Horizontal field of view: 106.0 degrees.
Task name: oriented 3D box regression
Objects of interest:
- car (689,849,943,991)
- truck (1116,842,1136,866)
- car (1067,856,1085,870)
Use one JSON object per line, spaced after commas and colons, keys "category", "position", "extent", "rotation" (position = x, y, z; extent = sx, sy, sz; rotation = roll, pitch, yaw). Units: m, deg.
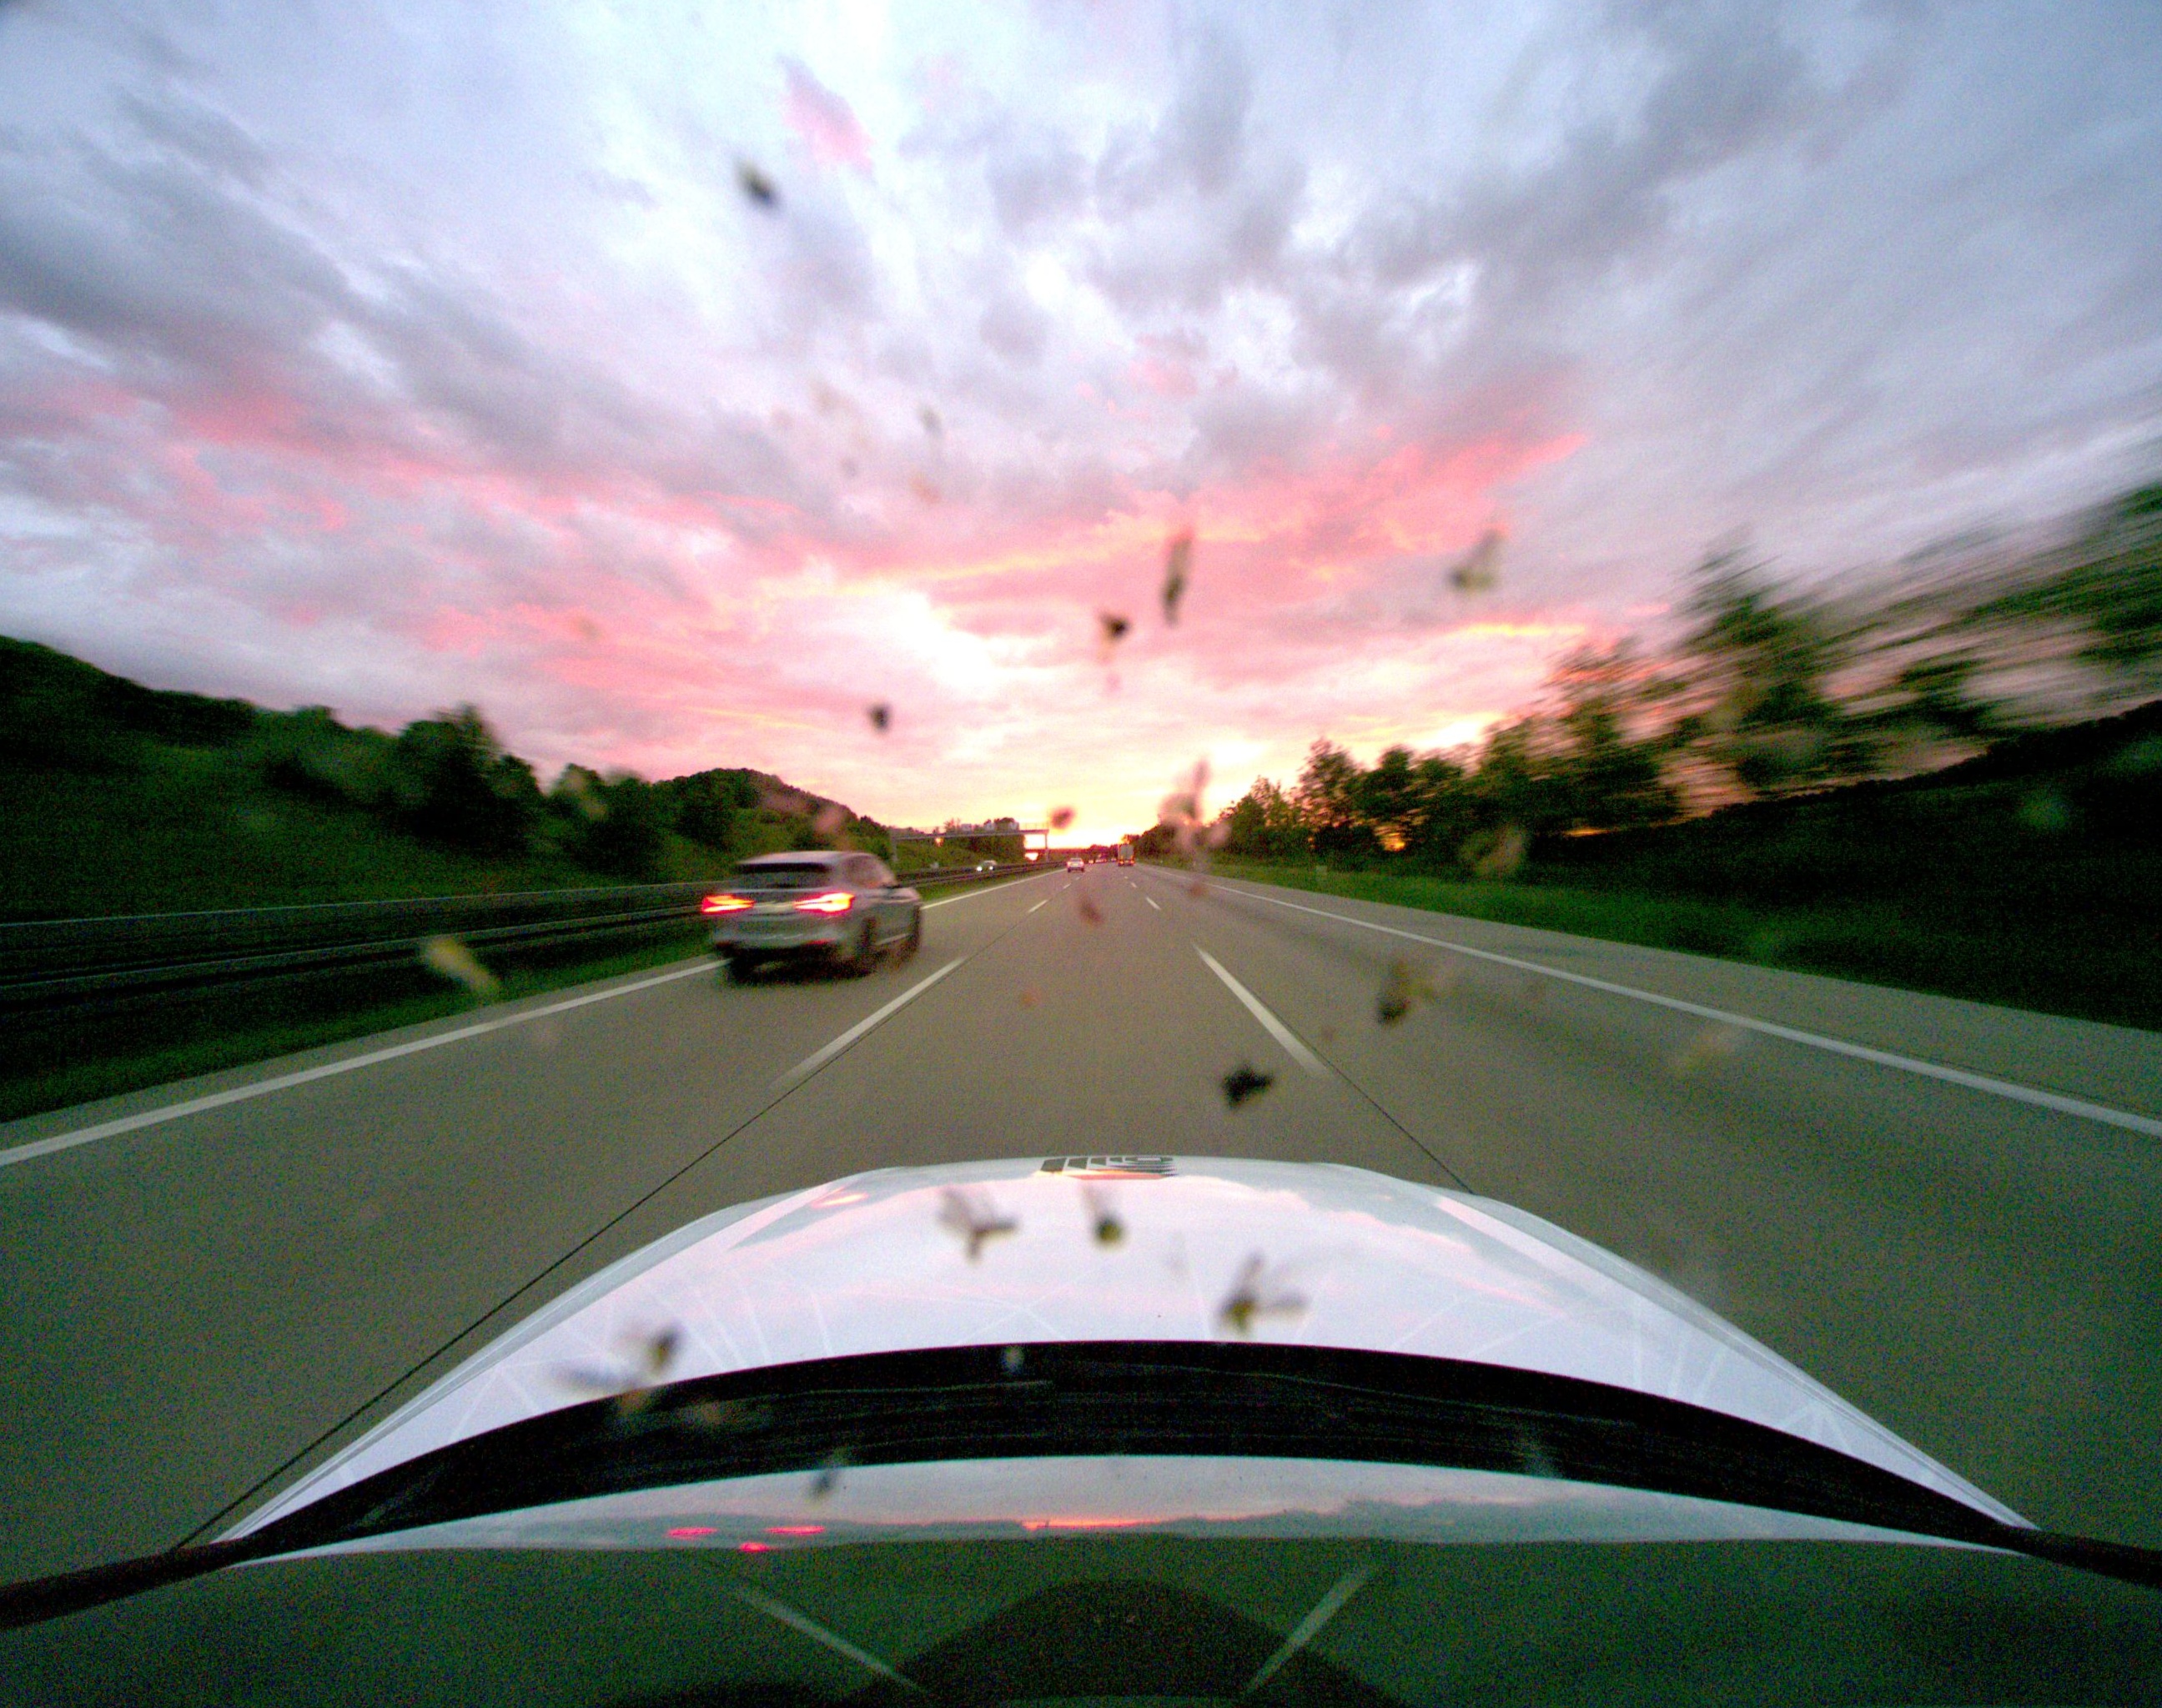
{"category": "car", "position": [-3.644, 0.800, 12.536], "extent": [1.882, 1.660, 5.642], "rotation": [-1, 0, 2]}
{"category": "truck", "position": [8.041, -0.010, 146.092], "extent": [3.231, 4.127, 9.794], "rotation": [-2, 0, 3]}
{"category": "car", "position": [-0.492, 0.997, 90.082], "extent": [1.783, 1.501, 5.039], "rotation": [0, 0, 1]}
